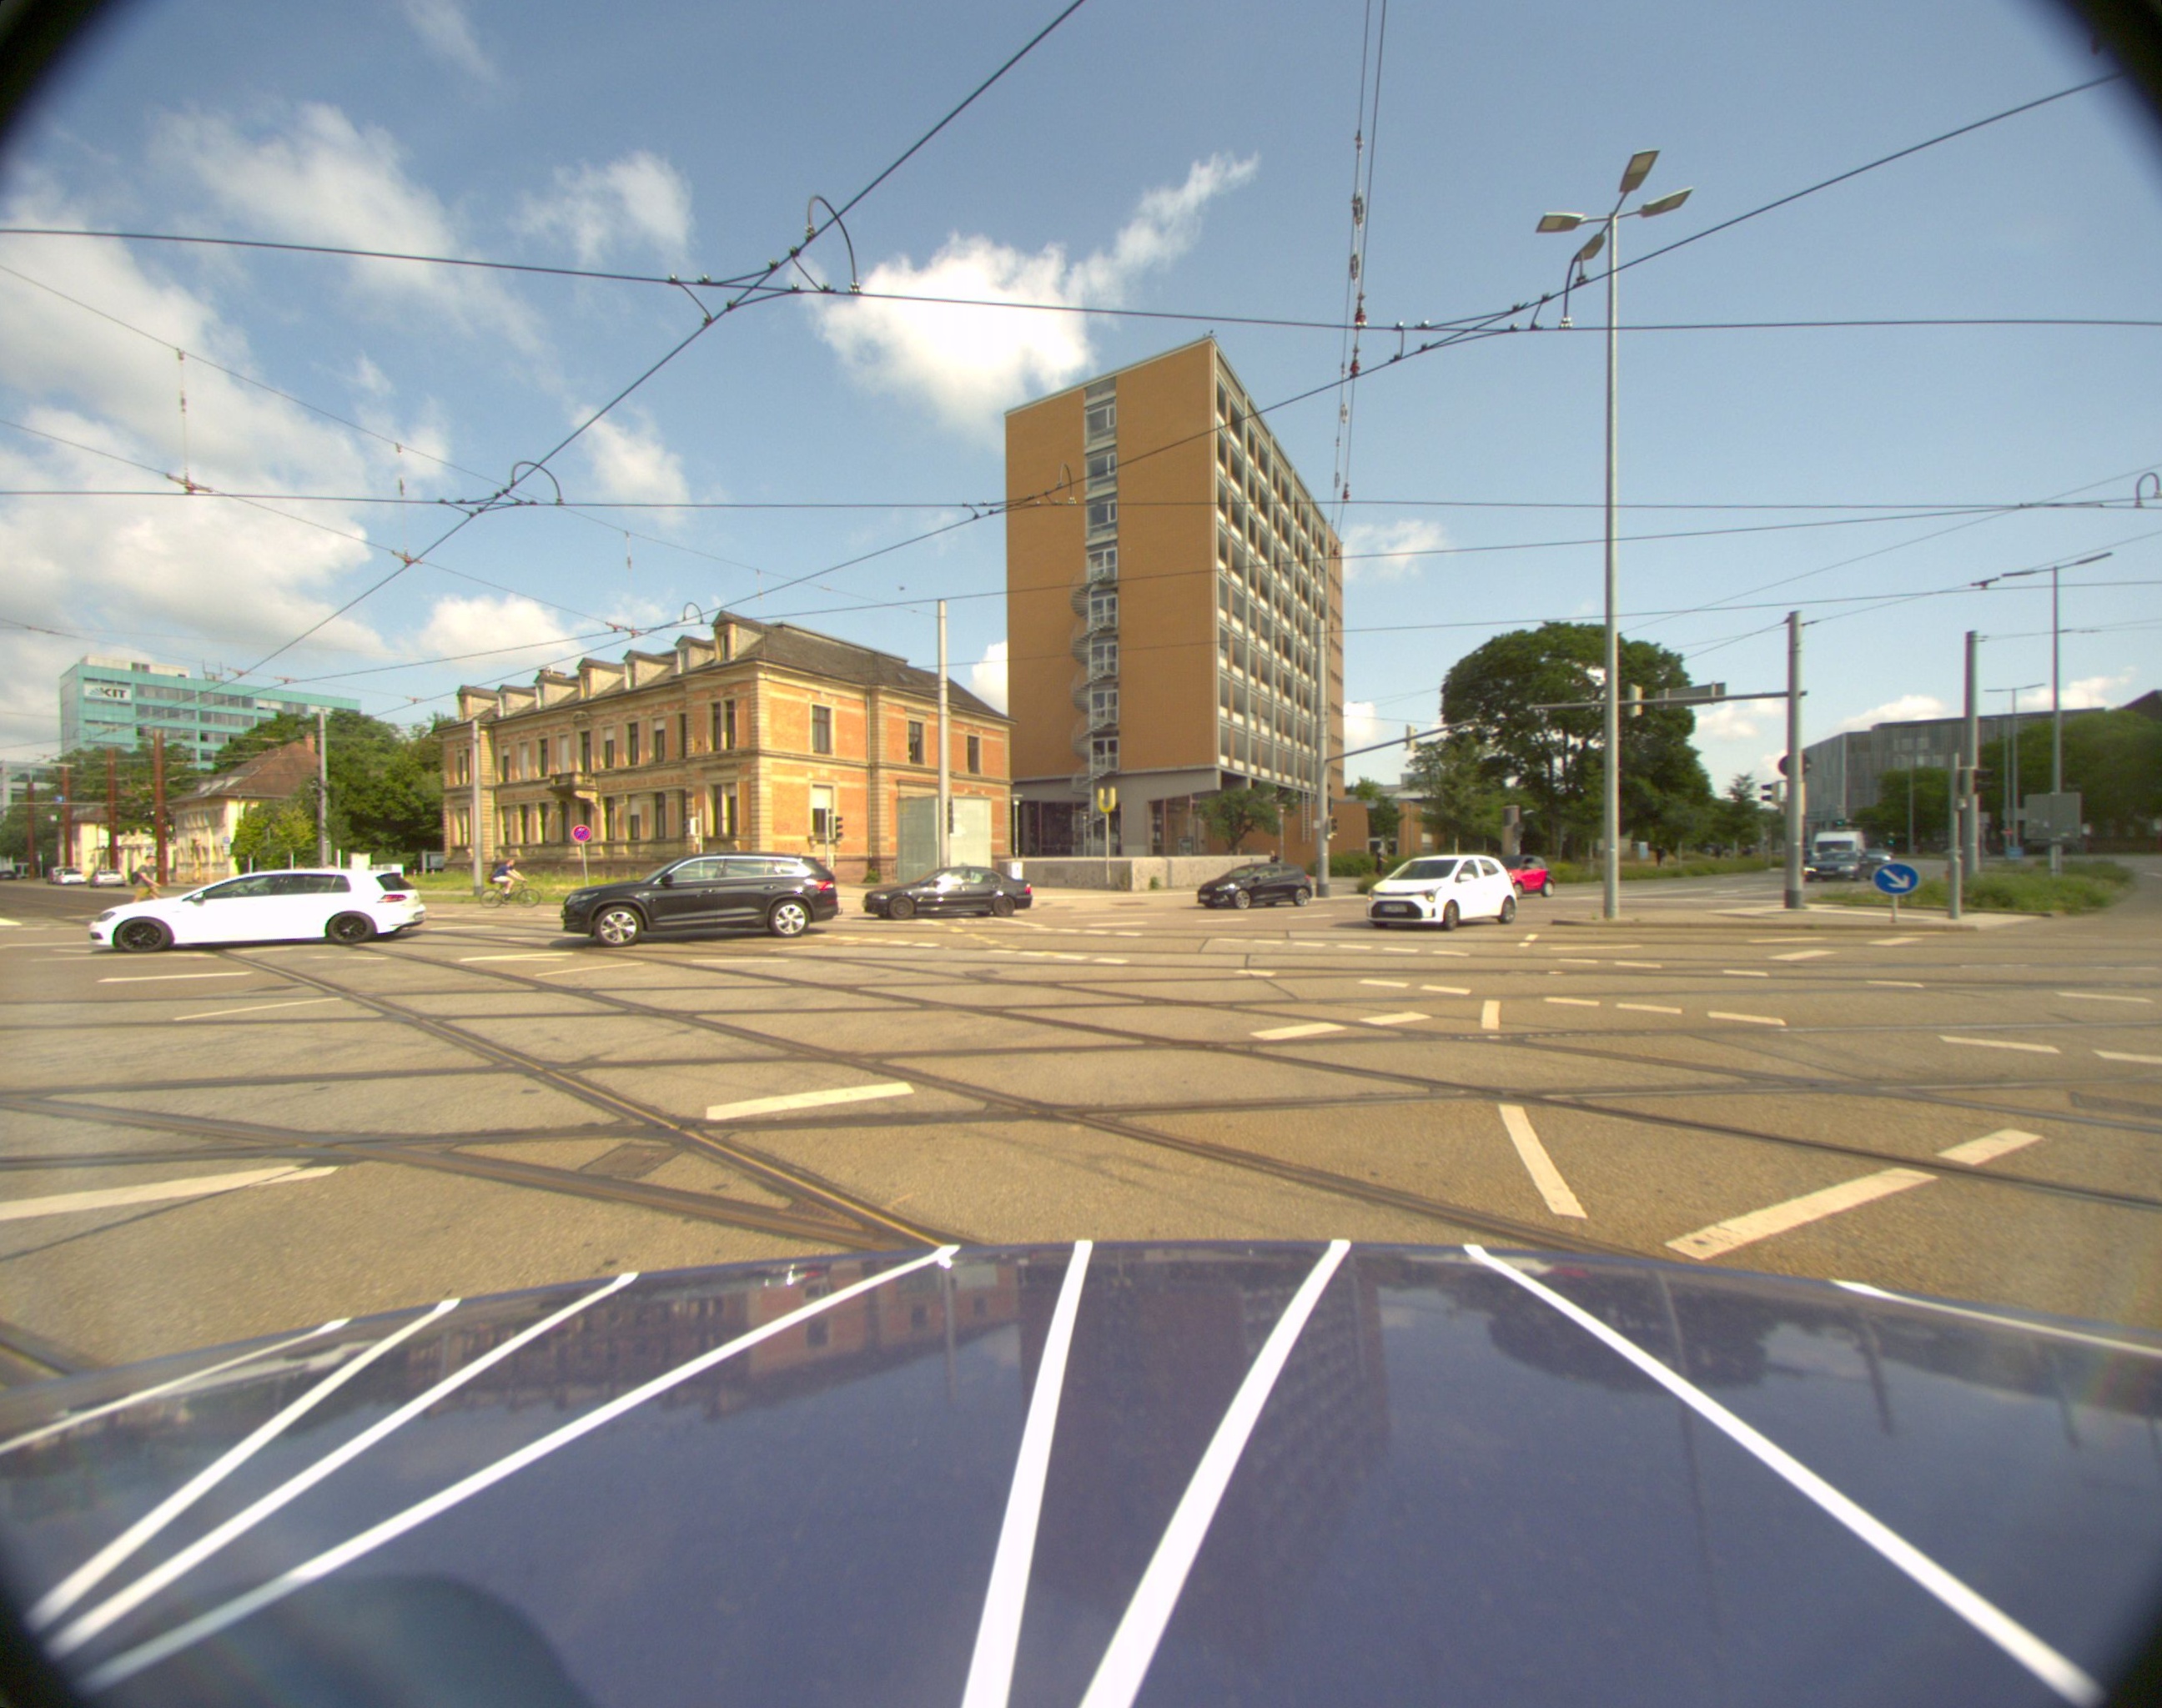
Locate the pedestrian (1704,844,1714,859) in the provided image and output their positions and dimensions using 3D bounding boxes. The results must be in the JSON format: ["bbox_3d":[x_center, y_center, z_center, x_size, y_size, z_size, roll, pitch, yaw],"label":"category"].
[{"bbox_3d":[86.484,-0.364,104.667,0.984,2.002,1.132,0,1,44],"label":"pedestrian"}]

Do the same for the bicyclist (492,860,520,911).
[{"bbox_3d":[-19.766,1.073,26.118,0.657,1.662,0.572,-3,4,-32],"label":"bicyclist"}]

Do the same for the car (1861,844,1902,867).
[{"bbox_3d":[68.891,0.063,65.378,4.148,1.762,1.994,-3,3,-38],"label":"car"}]

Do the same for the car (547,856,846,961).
[{"bbox_3d":[-7.046,0.888,14.282,4.691,1.658,1.995,-1,0,-29],"label":"car"}]

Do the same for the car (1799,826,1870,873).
[{"bbox_3d":[48.685,-0.303,49.037,6.161,2.862,2.479,-1,0,-38],"label":"car"}]

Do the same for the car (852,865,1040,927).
[{"bbox_3d":[-3.562,1.029,20.138,4.515,1.390,1.995,-1,0,-27],"label":"car"}]

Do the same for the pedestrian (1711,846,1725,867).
[{"bbox_3d":[62.201,0.209,74.186,0.984,2.003,1.132,2,4,44],"label":"pedestrian"}]

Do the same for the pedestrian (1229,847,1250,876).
[{"bbox_3d":[9.164,0.449,43.959,0.938,1.580,0.764,2,6,1],"label":"pedestrian"}]

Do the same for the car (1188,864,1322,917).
[{"bbox_3d":[5.686,1.150,24.831,4.004,1.445,1.711,-2,1,-23],"label":"car"}]

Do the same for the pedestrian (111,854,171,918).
[{"bbox_3d":[-27.712,0.913,22.423,0.888,1.800,0.865,-3,4,-41],"label":"pedestrian"}]

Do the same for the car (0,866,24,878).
[{"bbox_3d":[-151.069,2.500,107.191,3.989,1.596,1.919,0,1,32],"label":"car"}]

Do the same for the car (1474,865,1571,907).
[{"bbox_3d":[15.502,1.072,26.680,3.014,1.207,1.606,-3,2,-29],"label":"car"}]

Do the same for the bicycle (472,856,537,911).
[{"bbox_3d":[-19.769,0.999,26.116,1.640,1.768,0.730,-3,3,-32],"label":"bicycle"}]

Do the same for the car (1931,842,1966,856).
[{"bbox_3d":[108.926,-0.677,95.460,1.993,1.560,4.791,4,5,39],"label":"car"}]

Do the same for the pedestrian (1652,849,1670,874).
[{"bbox_3d":[43.865,0.565,57.468,0.646,1.862,0.758,-3,7,-31],"label":"pedestrian"}]

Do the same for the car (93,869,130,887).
[{"bbox_3d":[-88.016,2.159,68.971,3.988,1.521,1.760,0,1,34],"label":"car"}]

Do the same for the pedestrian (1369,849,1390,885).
[{"bbox_3d":[17.022,0.751,43.362,0.807,2.004,0.724,1,6,0],"label":"pedestrian"}]

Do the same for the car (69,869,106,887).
[{"bbox_3d":[-103.538,2.491,79.148,3.989,1.759,1.919,0,1,32],"label":"car"}]

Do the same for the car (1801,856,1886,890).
[{"bbox_3d":[36.015,0.859,35.873,4.552,1.274,1.994,-3,3,-34],"label":"car"}]

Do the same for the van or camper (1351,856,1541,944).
[{"bbox_3d":[7.554,0.859,15.615,4.006,1.467,1.624,-2,0,-33],"label":"van or camper"}]

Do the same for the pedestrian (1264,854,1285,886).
[{"bbox_3d":[9.813,0.791,38.536,0.770,1.579,0.766,0,1,37],"label":"pedestrian"}]

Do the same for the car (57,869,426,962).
[{"bbox_3d":[-15.087,1.030,14.035,4.239,1.437,1.680,0,0,-29],"label":"car"}]

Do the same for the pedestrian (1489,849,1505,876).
[{"bbox_3d":[23.778,0.467,43.464,0.581,1.513,0.478,-2,6,-24],"label":"pedestrian"}]

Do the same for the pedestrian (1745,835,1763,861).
[{"bbox_3d":[54.585,-0.497,61.593,0.984,2.003,1.132,2,4,44],"label":"pedestrian"}]
